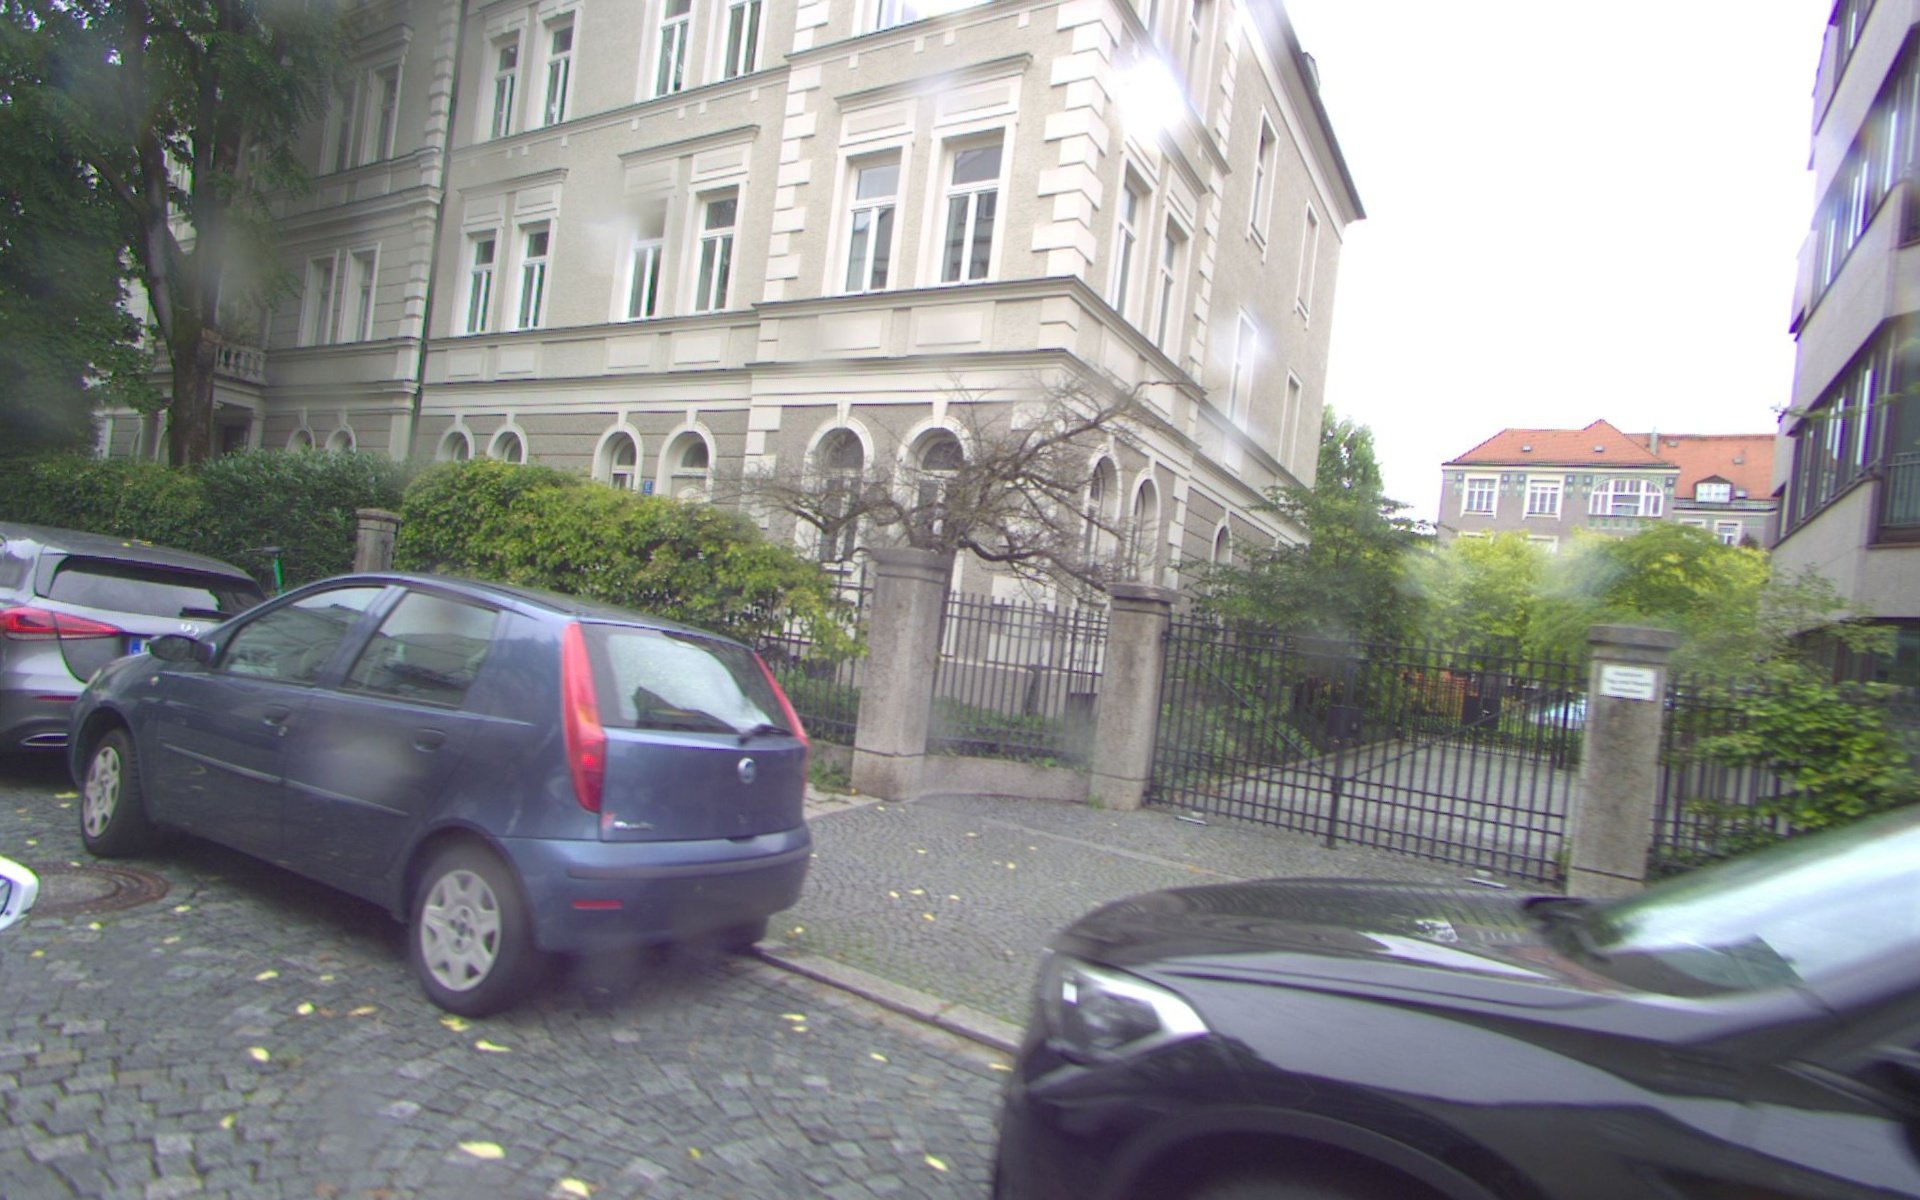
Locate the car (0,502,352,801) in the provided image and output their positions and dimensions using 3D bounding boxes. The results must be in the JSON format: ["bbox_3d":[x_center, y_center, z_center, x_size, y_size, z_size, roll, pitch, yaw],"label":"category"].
[{"bbox_3d":[-6.219,0.169,6.759,4.197,1.488,1.719,6,-4,31],"label":"car"}]

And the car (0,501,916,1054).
[{"bbox_3d":[-2.431,0.546,4.717,3.990,1.456,1.700,7,-4,27],"label":"car"}]

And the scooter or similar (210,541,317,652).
[{"bbox_3d":[-8.762,-0.048,12.646,1.223,1.251,0.415,7,3,20],"label":"scooter or similar"}]

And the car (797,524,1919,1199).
[{"bbox_3d":[2.150,1.007,1.667,4.580,1.687,1.878,6,-4,32],"label":"car"}]
